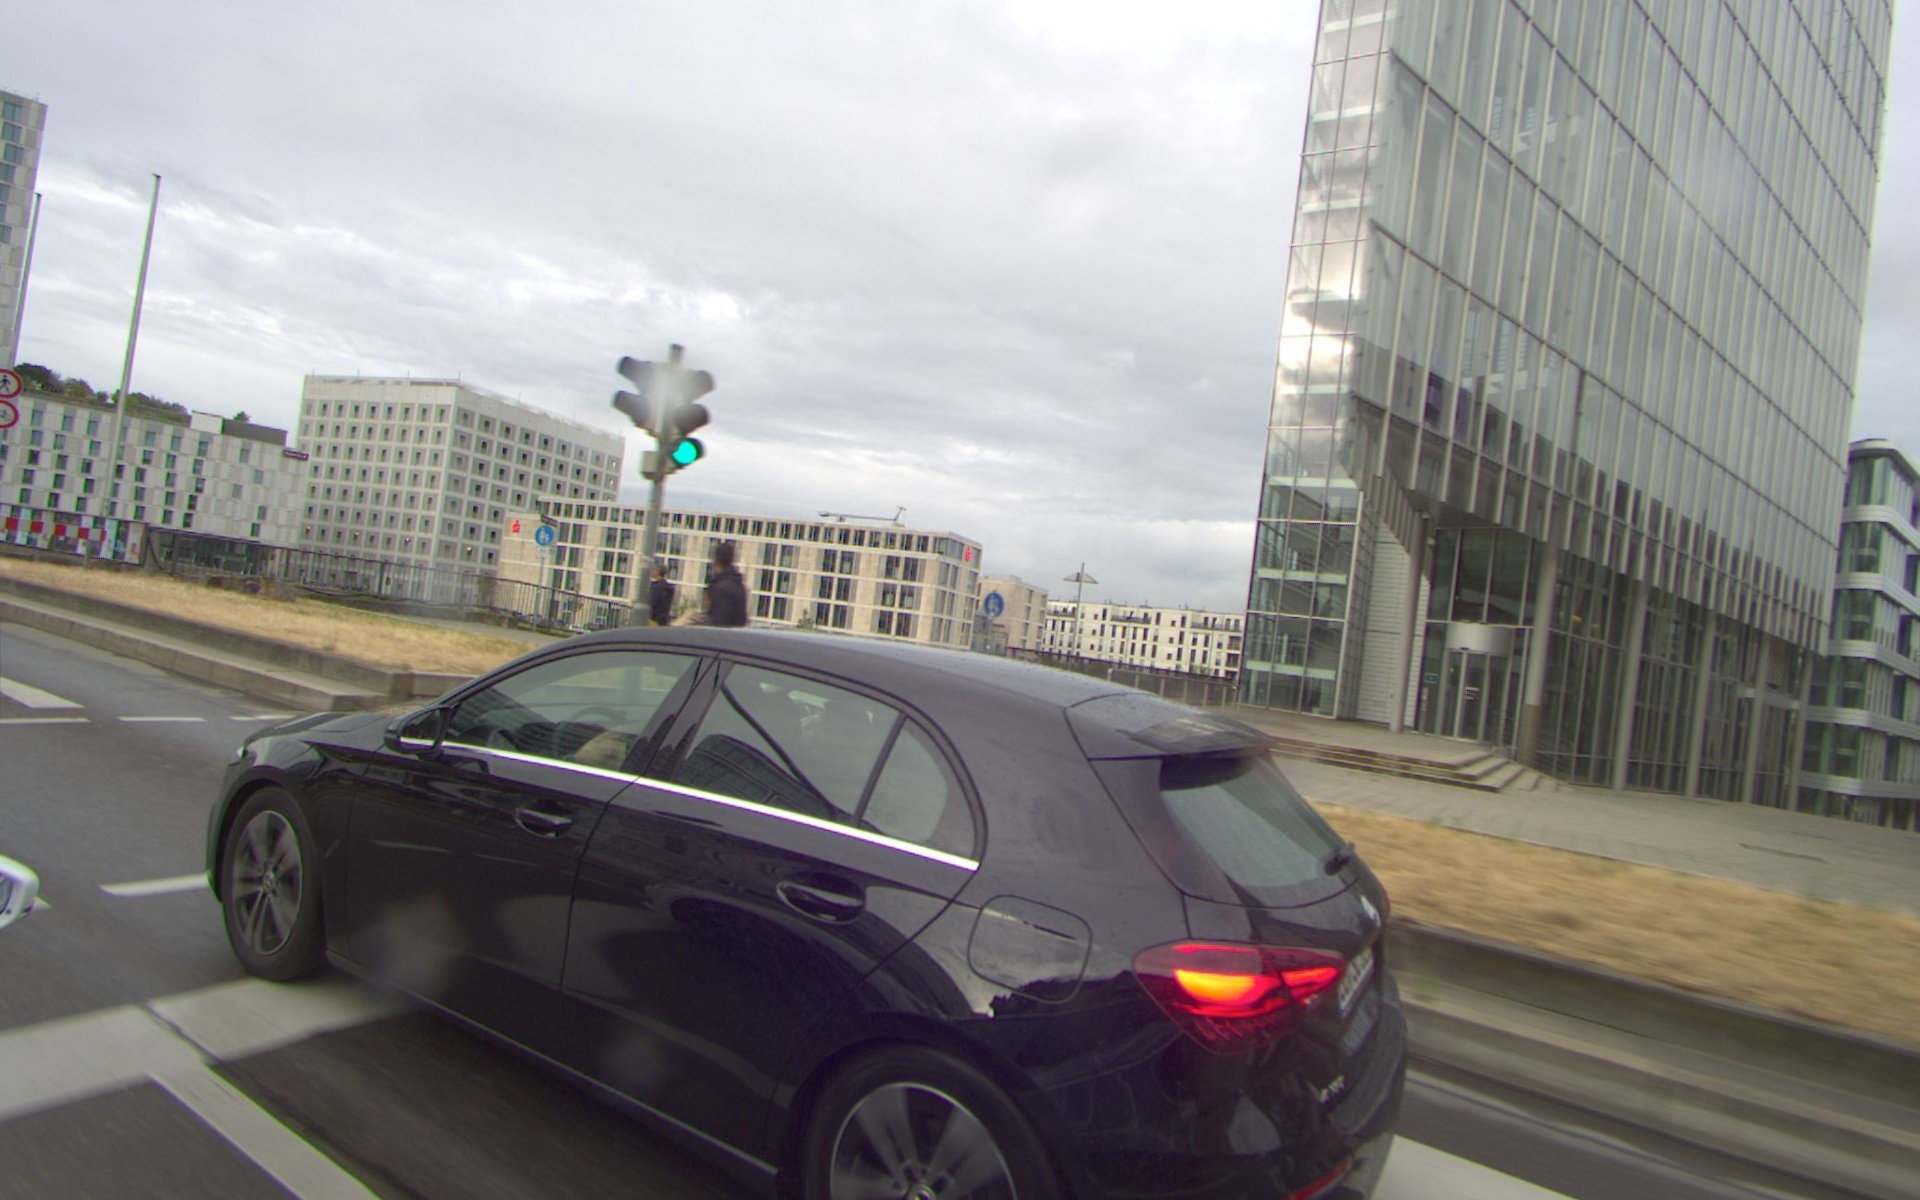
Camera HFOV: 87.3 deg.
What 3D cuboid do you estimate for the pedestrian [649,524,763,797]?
[{"bbox_3d":[-1.861,0.425,7.442,0.542,1.864,0.781,8,1,-12],"label":"pedestrian"}]

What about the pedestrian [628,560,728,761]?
[{"bbox_3d":[-2.411,0.500,8.571,0.544,1.597,0.667,8,1,-24],"label":"pedestrian"}]

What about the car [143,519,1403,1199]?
[{"bbox_3d":[-0.848,0.761,3.624,4.134,1.454,1.876,9,0,31],"label":"car"}]

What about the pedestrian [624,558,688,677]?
[{"bbox_3d":[-4.407,0.242,14.555,0.661,1.597,0.665,8,1,-21],"label":"pedestrian"}]

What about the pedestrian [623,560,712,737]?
[{"bbox_3d":[-2.833,0.449,9.712,0.544,1.597,0.667,8,1,-24],"label":"pedestrian"}]
